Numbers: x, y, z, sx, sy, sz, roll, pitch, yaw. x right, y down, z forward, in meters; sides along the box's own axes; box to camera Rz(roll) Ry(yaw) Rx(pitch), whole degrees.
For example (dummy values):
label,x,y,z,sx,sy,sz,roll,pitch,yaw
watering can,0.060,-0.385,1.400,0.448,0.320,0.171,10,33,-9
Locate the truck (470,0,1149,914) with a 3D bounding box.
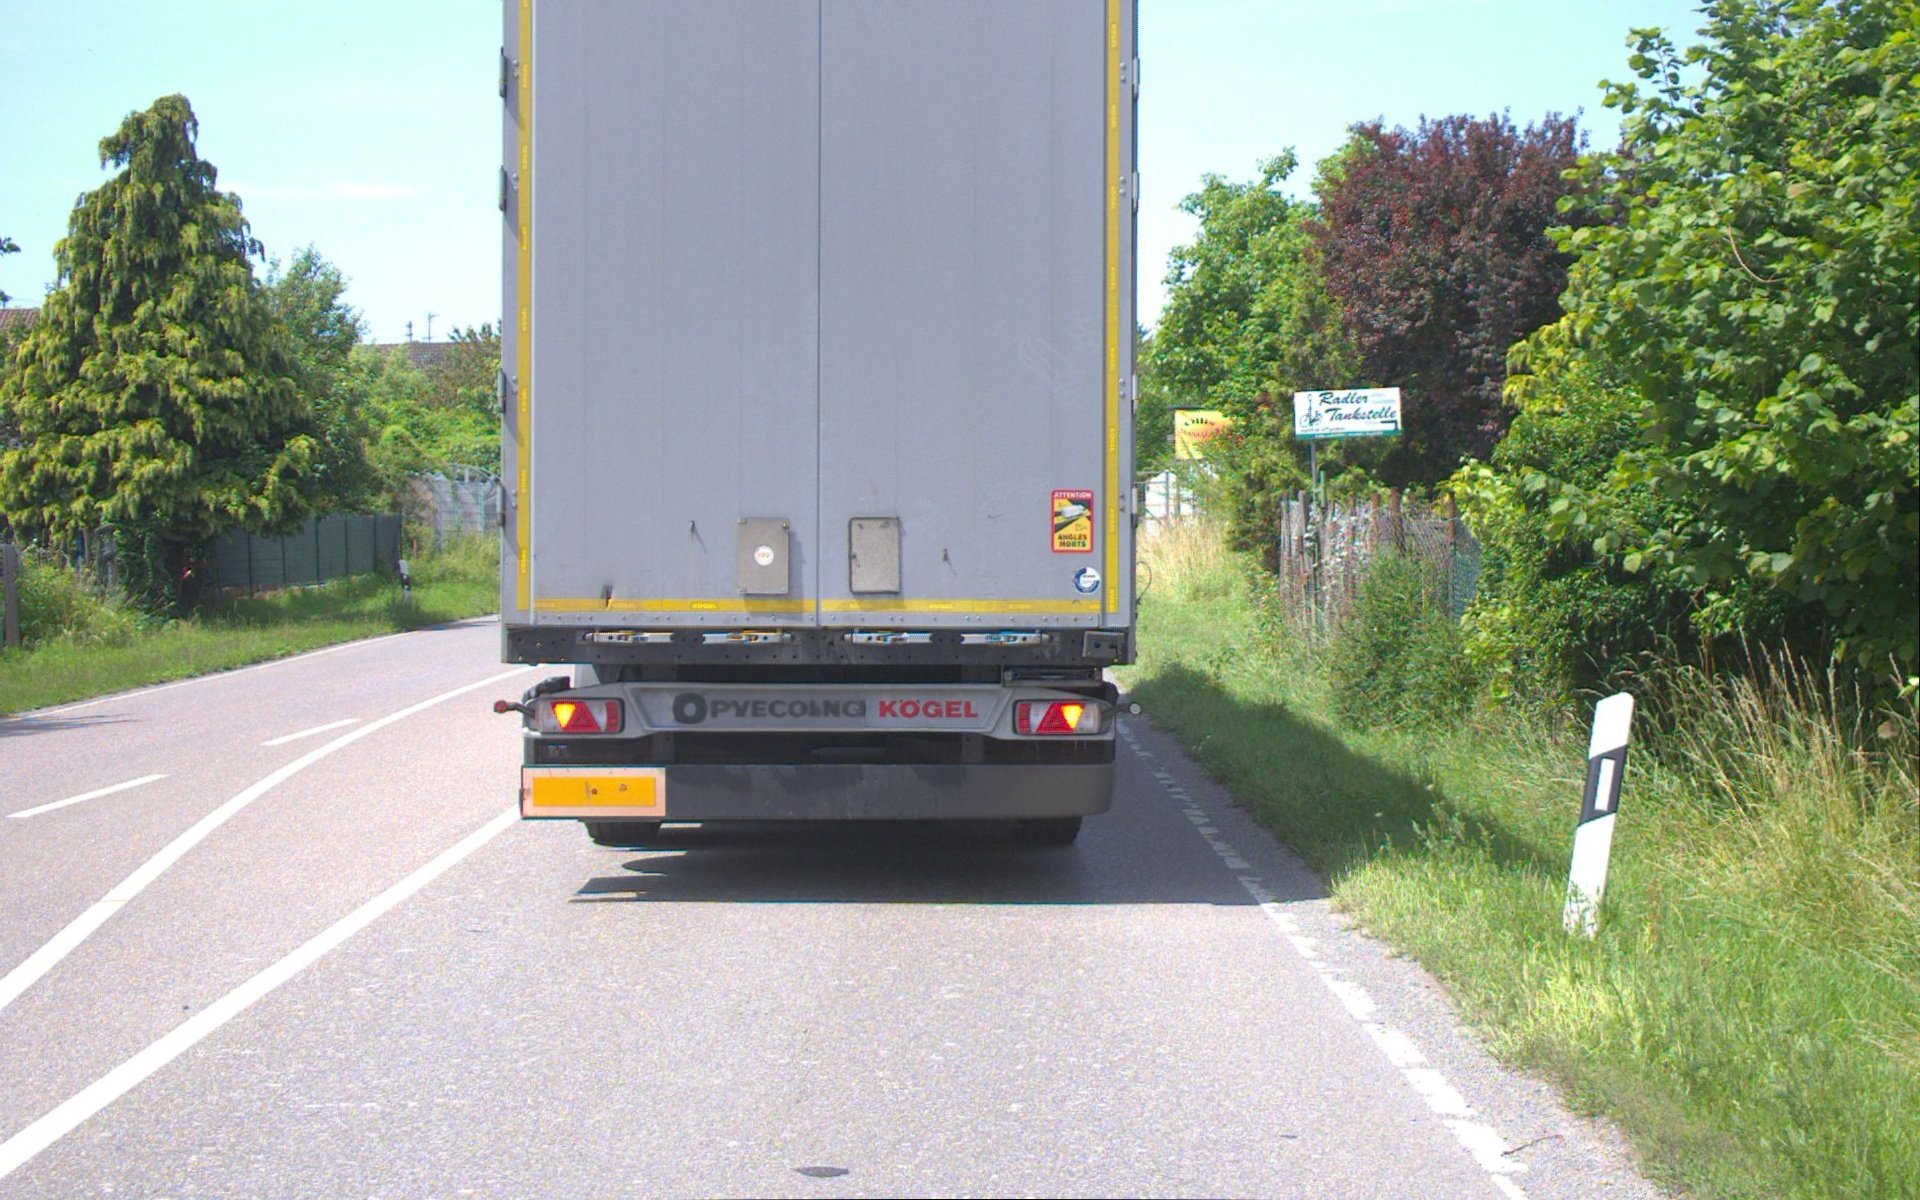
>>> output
label,x,y,z,sx,sy,sz,roll,pitch,yaw
truck,-0.727,-0.832,17.933,2.647,3.903,8.826,0,1,-2
